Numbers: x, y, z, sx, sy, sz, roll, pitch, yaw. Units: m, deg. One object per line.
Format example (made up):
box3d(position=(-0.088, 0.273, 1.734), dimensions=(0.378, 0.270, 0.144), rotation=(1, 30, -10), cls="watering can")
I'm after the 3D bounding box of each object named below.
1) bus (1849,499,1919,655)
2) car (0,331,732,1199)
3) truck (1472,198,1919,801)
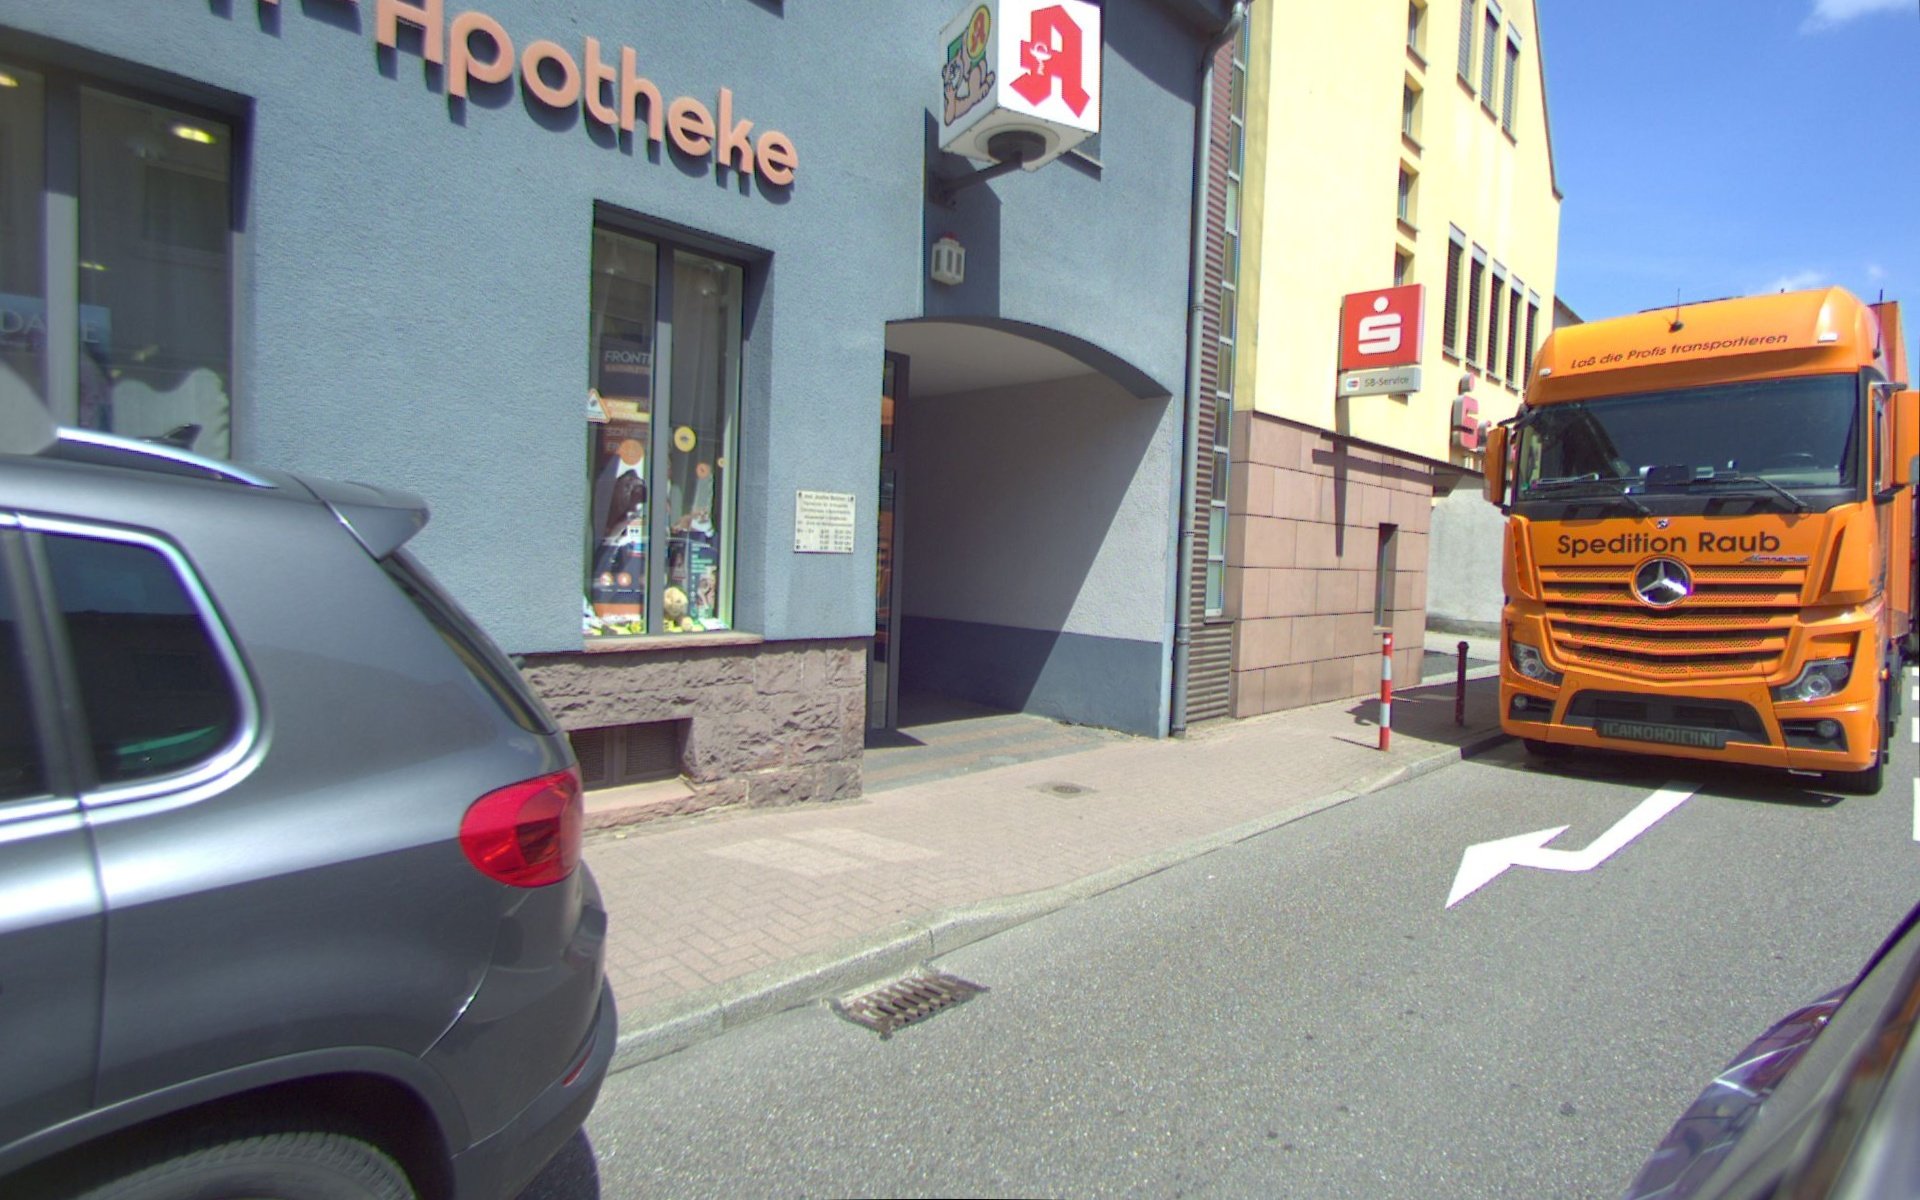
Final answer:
box3d(position=(26.767, -0.482, 27.451), dimensions=(2.847, 3.244, 18.768), rotation=(4, 3, 38), cls="bus")
box3d(position=(-2.597, 0.461, 1.239), dimensions=(4.033, 1.729, 1.997), rotation=(0, 5, -44), cls="car")
box3d(position=(8.766, -0.646, 11.099), dimensions=(9.827, 3.995, 2.610), rotation=(1, 0, -45), cls="truck")
